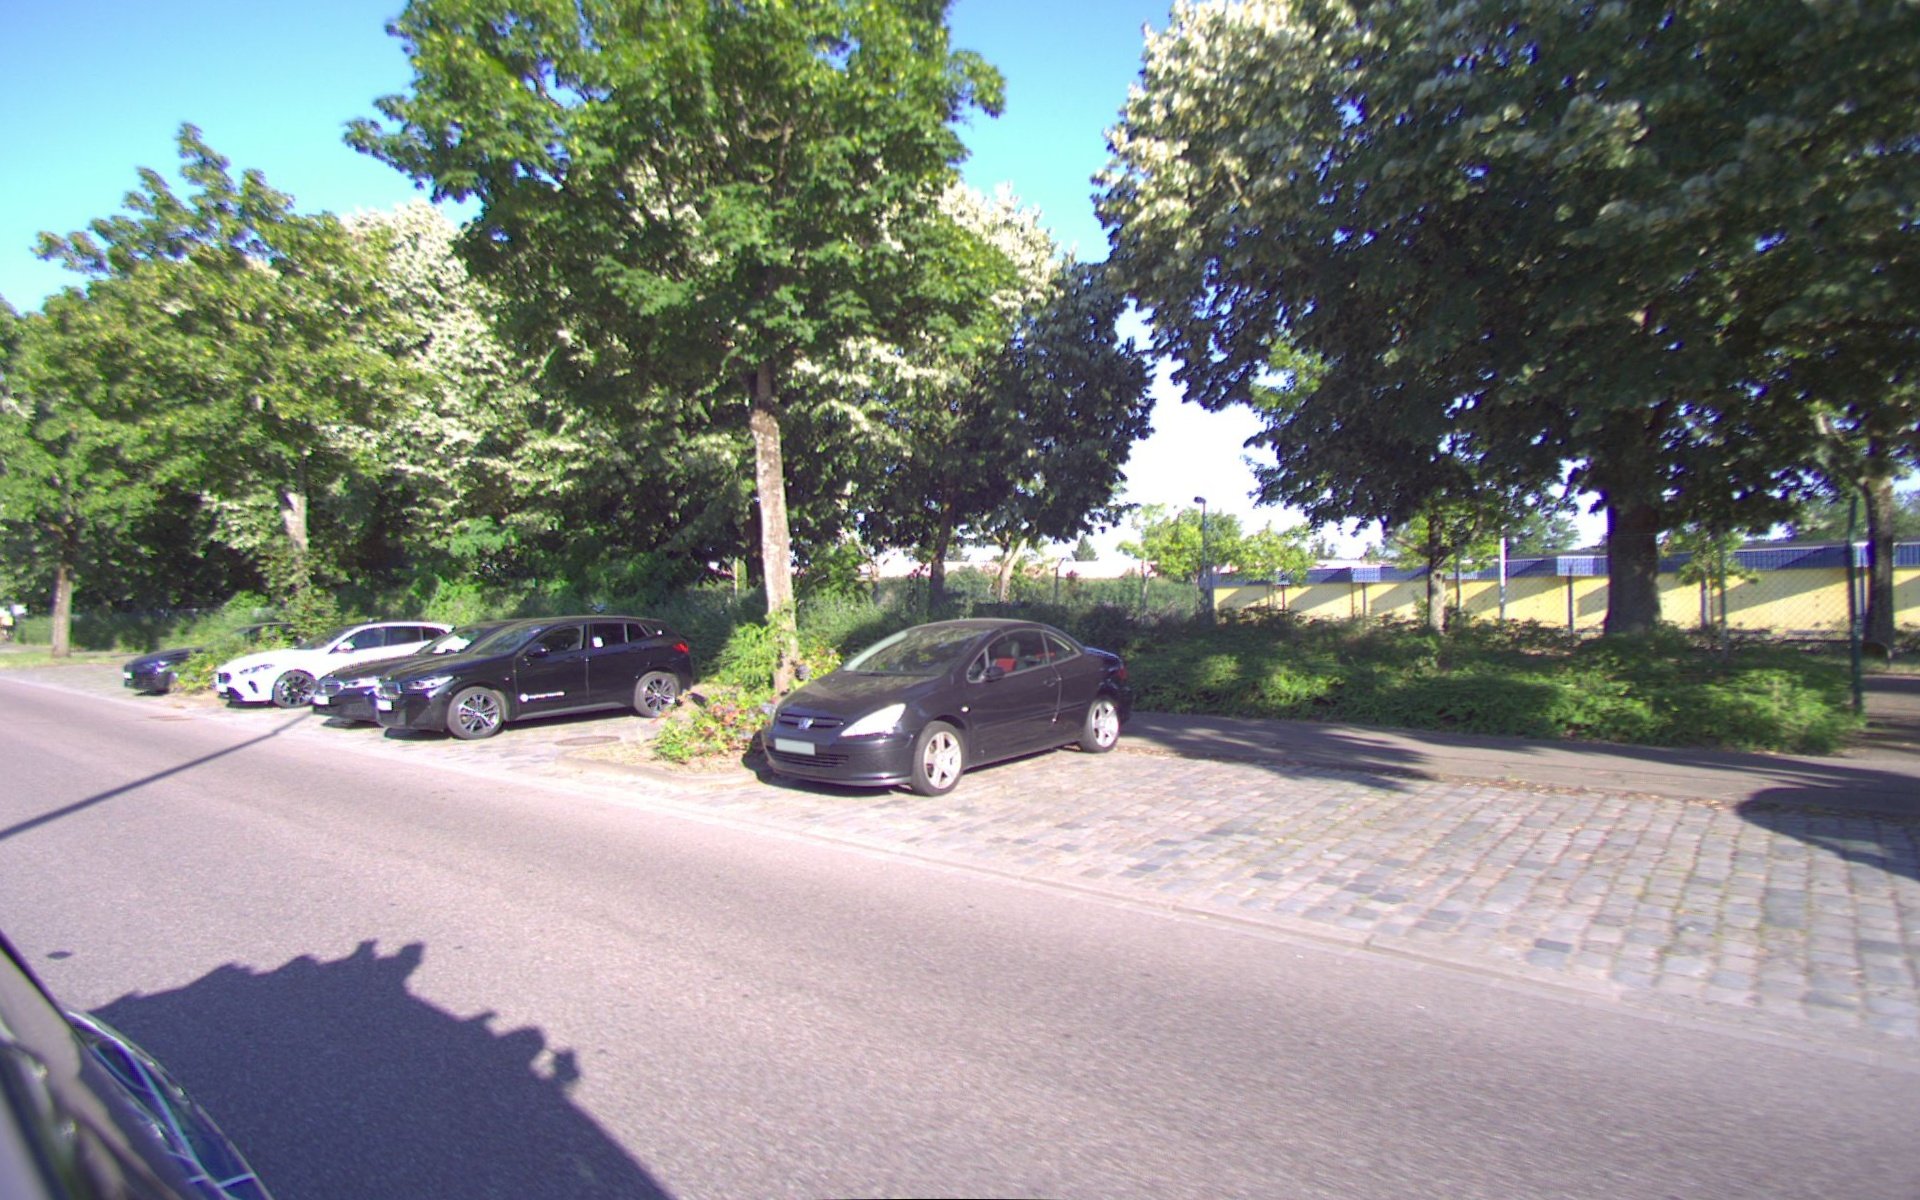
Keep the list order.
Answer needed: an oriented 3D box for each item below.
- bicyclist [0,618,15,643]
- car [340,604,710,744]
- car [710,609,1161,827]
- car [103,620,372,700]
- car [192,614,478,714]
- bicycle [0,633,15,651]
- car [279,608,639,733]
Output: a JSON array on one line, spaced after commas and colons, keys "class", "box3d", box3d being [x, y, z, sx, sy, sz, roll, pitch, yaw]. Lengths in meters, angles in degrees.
[{"class": "bicyclist", "box3d": [-58.083, 1.857, 61.549, 0.950, 1.541, 0.723, -2, -2, 39]}, {"class": "car", "box3d": [-6.031, 0.917, 14.505, 1.998, 1.542, 4.436, -2, 1, 39]}, {"class": "car", "box3d": [0.007, 0.911, 9.879, 1.998, 1.473, 4.436, -2, 1, 39]}, {"class": "car", "box3d": [-16.284, 1.279, 23.038, 1.913, 1.432, 4.607, -2, 1, 36]}, {"class": "car", "box3d": [-11.867, 1.129, 19.446, 1.998, 1.542, 4.244, -2, 1, 40]}, {"class": "bicycle", "box3d": [-58.335, 2.537, 61.684, 2.215, 1.047, 0.758, -2, -2, 39]}, {"class": "car", "box3d": [-7.816, 0.998, 16.279, 1.996, 1.542, 4.807, -2, 1, 35]}]
